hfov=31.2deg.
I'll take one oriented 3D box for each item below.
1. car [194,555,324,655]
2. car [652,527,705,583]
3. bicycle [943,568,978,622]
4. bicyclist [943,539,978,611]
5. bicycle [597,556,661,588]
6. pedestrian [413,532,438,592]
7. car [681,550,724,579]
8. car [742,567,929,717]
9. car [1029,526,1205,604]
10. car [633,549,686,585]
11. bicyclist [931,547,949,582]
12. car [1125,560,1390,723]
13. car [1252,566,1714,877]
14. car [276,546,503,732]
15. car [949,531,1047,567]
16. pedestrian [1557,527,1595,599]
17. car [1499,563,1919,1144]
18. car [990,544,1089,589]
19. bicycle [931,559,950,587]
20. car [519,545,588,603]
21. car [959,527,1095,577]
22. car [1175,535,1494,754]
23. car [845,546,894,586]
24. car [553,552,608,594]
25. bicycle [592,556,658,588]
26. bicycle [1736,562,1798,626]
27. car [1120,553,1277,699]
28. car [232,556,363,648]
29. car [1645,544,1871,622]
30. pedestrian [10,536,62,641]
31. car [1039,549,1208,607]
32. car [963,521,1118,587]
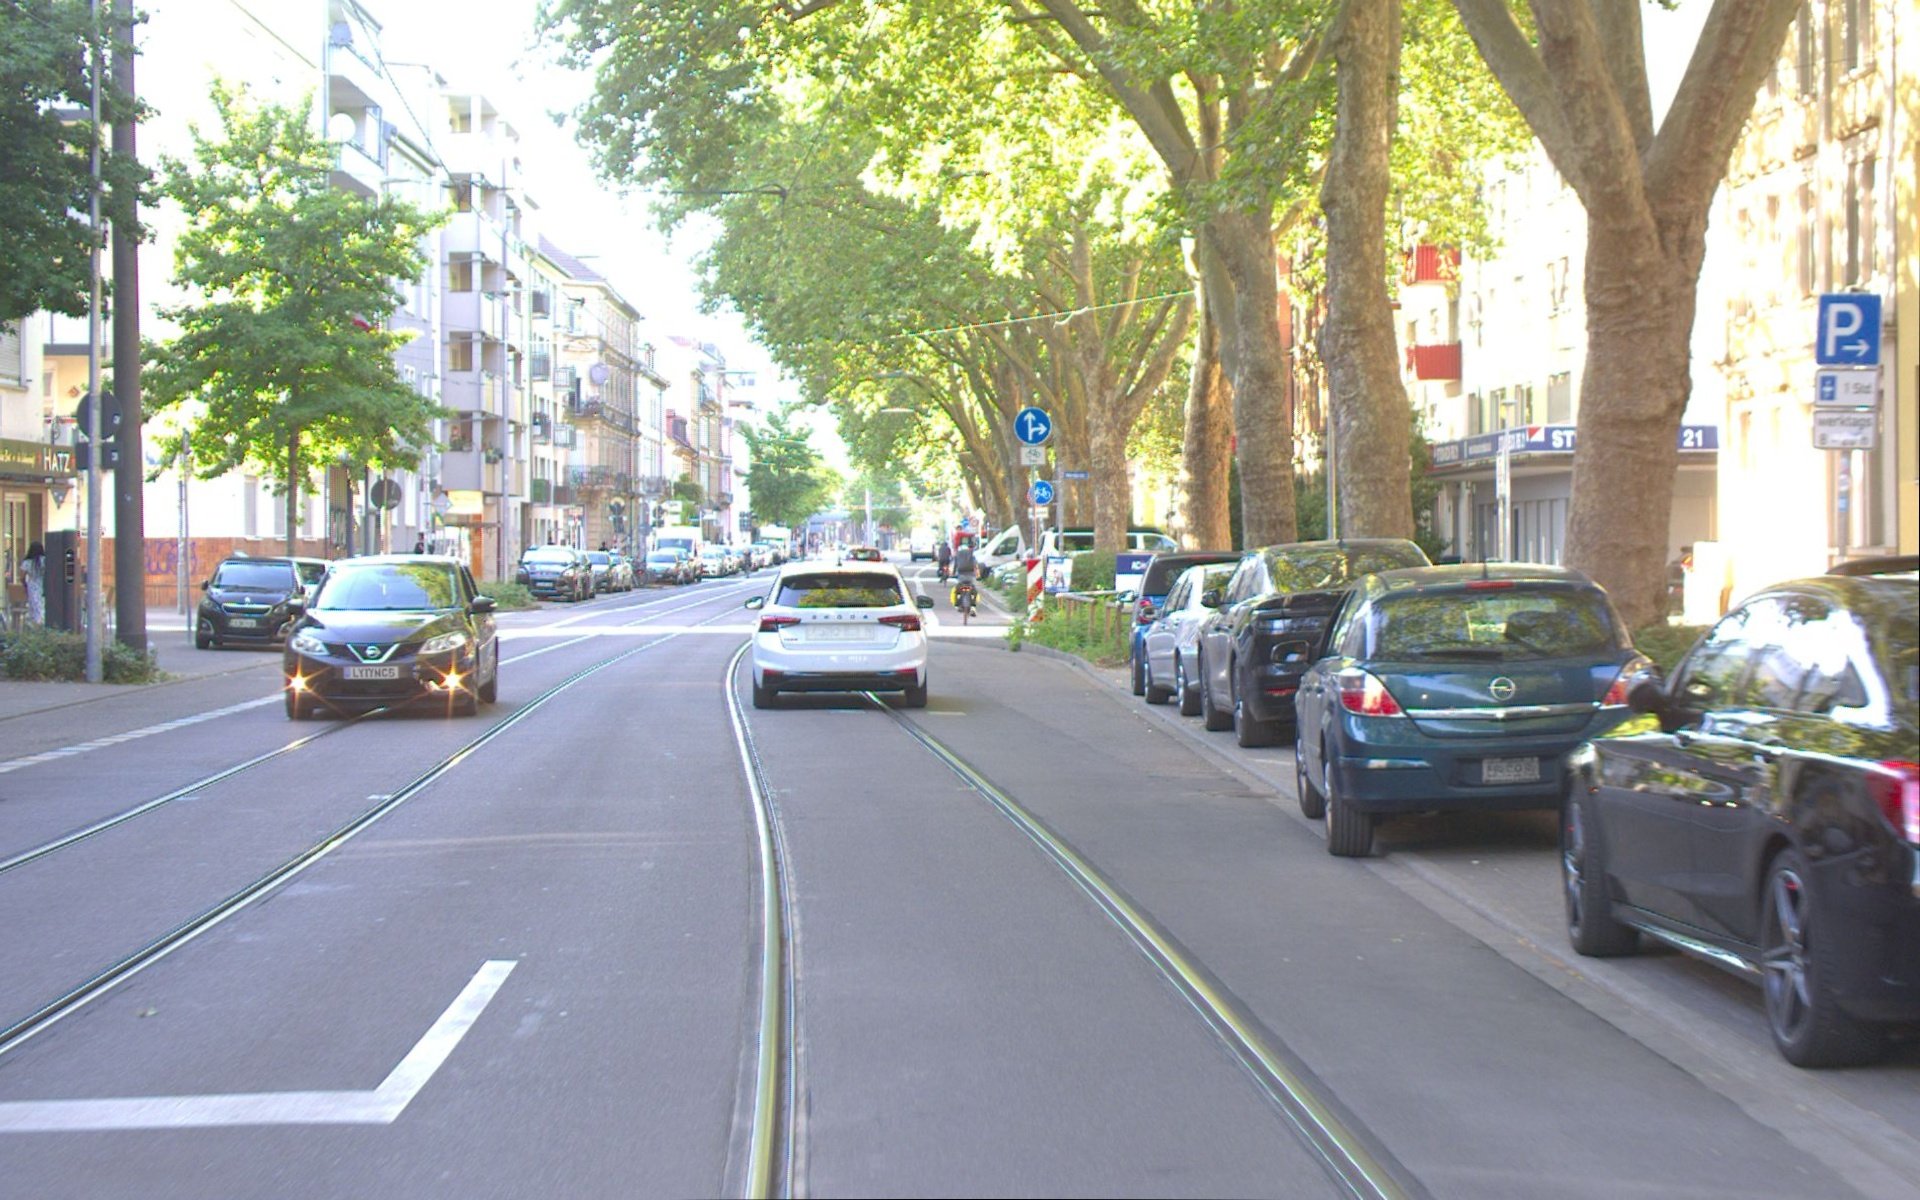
[{"bbox_3d":[-11.233,0.056,55.277,1.713,1.459,4.001,3,0,-8],"label":"car"},{"bbox_3d":[-13.175,-2.119,161.127,2.178,2.588,4.949,0,1,-1],"label":"car"},{"bbox_3d":[0.009,-0.107,69.249,0.681,1.067,1.781,-1,1,0],"label":"bicycle"},{"bbox_3d":[0.011,-0.502,69.176,0.678,1.438,1.047,-1,1,0],"label":"bicyclist"},{"bbox_3d":[-13.322,-1.118,138.260,2.524,1.168,0.719,2,-1,-7],"label":"bicycle"},{"bbox_3d":[-16.366,-1.171,105.251,0.663,1.820,0.965,0,1,-2],"label":"pedestrian"},{"bbox_3d":[-13.576,-1.882,181.459,1.993,1.525,4.000,0,1,-1],"label":"car"},{"bbox_3d":[-1.258,0.379,34.665,1.761,1.379,4.000,-1,1,-2],"label":"car"},{"bbox_3d":[4.207,-0.948,92.682,4.543,2.069,2.001,0,1,-3],"label":"car"},{"bbox_3d":[-13.042,-1.458,149.409,1.993,1.525,4.000,0,1,-1],"label":"car"},{"bbox_3d":[-0.760,-1.364,131.711,0.649,1.339,0.934,-1,1,-3],"label":"bicyclist"},{"bbox_3d":[2.819,0.376,33.551,1.816,1.431,4.604,-1,0,-4],"label":"car"},{"bbox_3d":[2.694,0.563,18.634,1.864,1.432,4.226,-1,1,1],"label":"car"},{"bbox_3d":[-5.388,0.317,32.906,1.871,1.584,4.147,2,1,-6],"label":"car"},{"bbox_3d":[2.393,-3.250,218.501,6.129,2.274,2.529,0,1,-2],"label":"car"},{"bbox_3d":[14.002,-0.844,78.146,0.746,1.639,0.666,0,1,1],"label":"pedestrian"},{"bbox_3d":[3.149,0.619,11.302,1.764,1.457,5.013,0,1,-2],"label":"car"},{"bbox_3d":[2.942,-1.244,127.414,3.634,1.661,1.822,0,1,2],"label":"car"},{"bbox_3d":[-0.752,-1.026,131.702,0.649,1.067,1.583,-1,1,-3],"label":"bicycle"},{"bbox_3d":[-12.330,-0.799,104.383,1.702,1.645,4.242,2,1,-3],"label":"car"},{"bbox_3d":[3.073,-2.202,158.283,6.129,2.274,2.529,0,1,-2],"label":"car"},{"bbox_3d":[2.963,0.333,28.199,1.857,1.598,4.782,-1,0,-2],"label":"car"},{"bbox_3d":[-3.382,-1.297,129.179,1.761,1.470,4.000,-1,1,0],"label":"car"},{"bbox_3d":[-13.259,-0.950,120.260,1.653,1.432,3.837,0,1,-3],"label":"car"},{"bbox_3d":[-13.370,-1.110,137.377,2.525,1.168,0.883,2,-1,-40],"label":"bicycle"},{"bbox_3d":[14.426,-0.120,61.479,0.582,1.100,1.923,-2,1,-1],"label":"bicycle"},{"bbox_3d":[2.608,0.272,38.087,1.564,1.514,2.910,-1,0,1],"label":"car"},{"bbox_3d":[-11.528,0.012,60.061,1.713,1.459,4.378,3,0,-5],"label":"car"},{"bbox_3d":[16.478,-0.363,71.096,4.130,1.588,2.000,0,1,-6],"label":"car"},{"bbox_3d":[-14.942,-0.197,55.622,0.663,1.685,0.749,0,1,-2],"label":"pedestrian"},{"bbox_3d":[4.264,-0.589,90.108,4.297,1.474,1.831,0,1,-2],"label":"car"},{"bbox_3d":[3.251,-1.876,139.665,6.129,2.626,2.529,0,1,-2],"label":"car"}]
